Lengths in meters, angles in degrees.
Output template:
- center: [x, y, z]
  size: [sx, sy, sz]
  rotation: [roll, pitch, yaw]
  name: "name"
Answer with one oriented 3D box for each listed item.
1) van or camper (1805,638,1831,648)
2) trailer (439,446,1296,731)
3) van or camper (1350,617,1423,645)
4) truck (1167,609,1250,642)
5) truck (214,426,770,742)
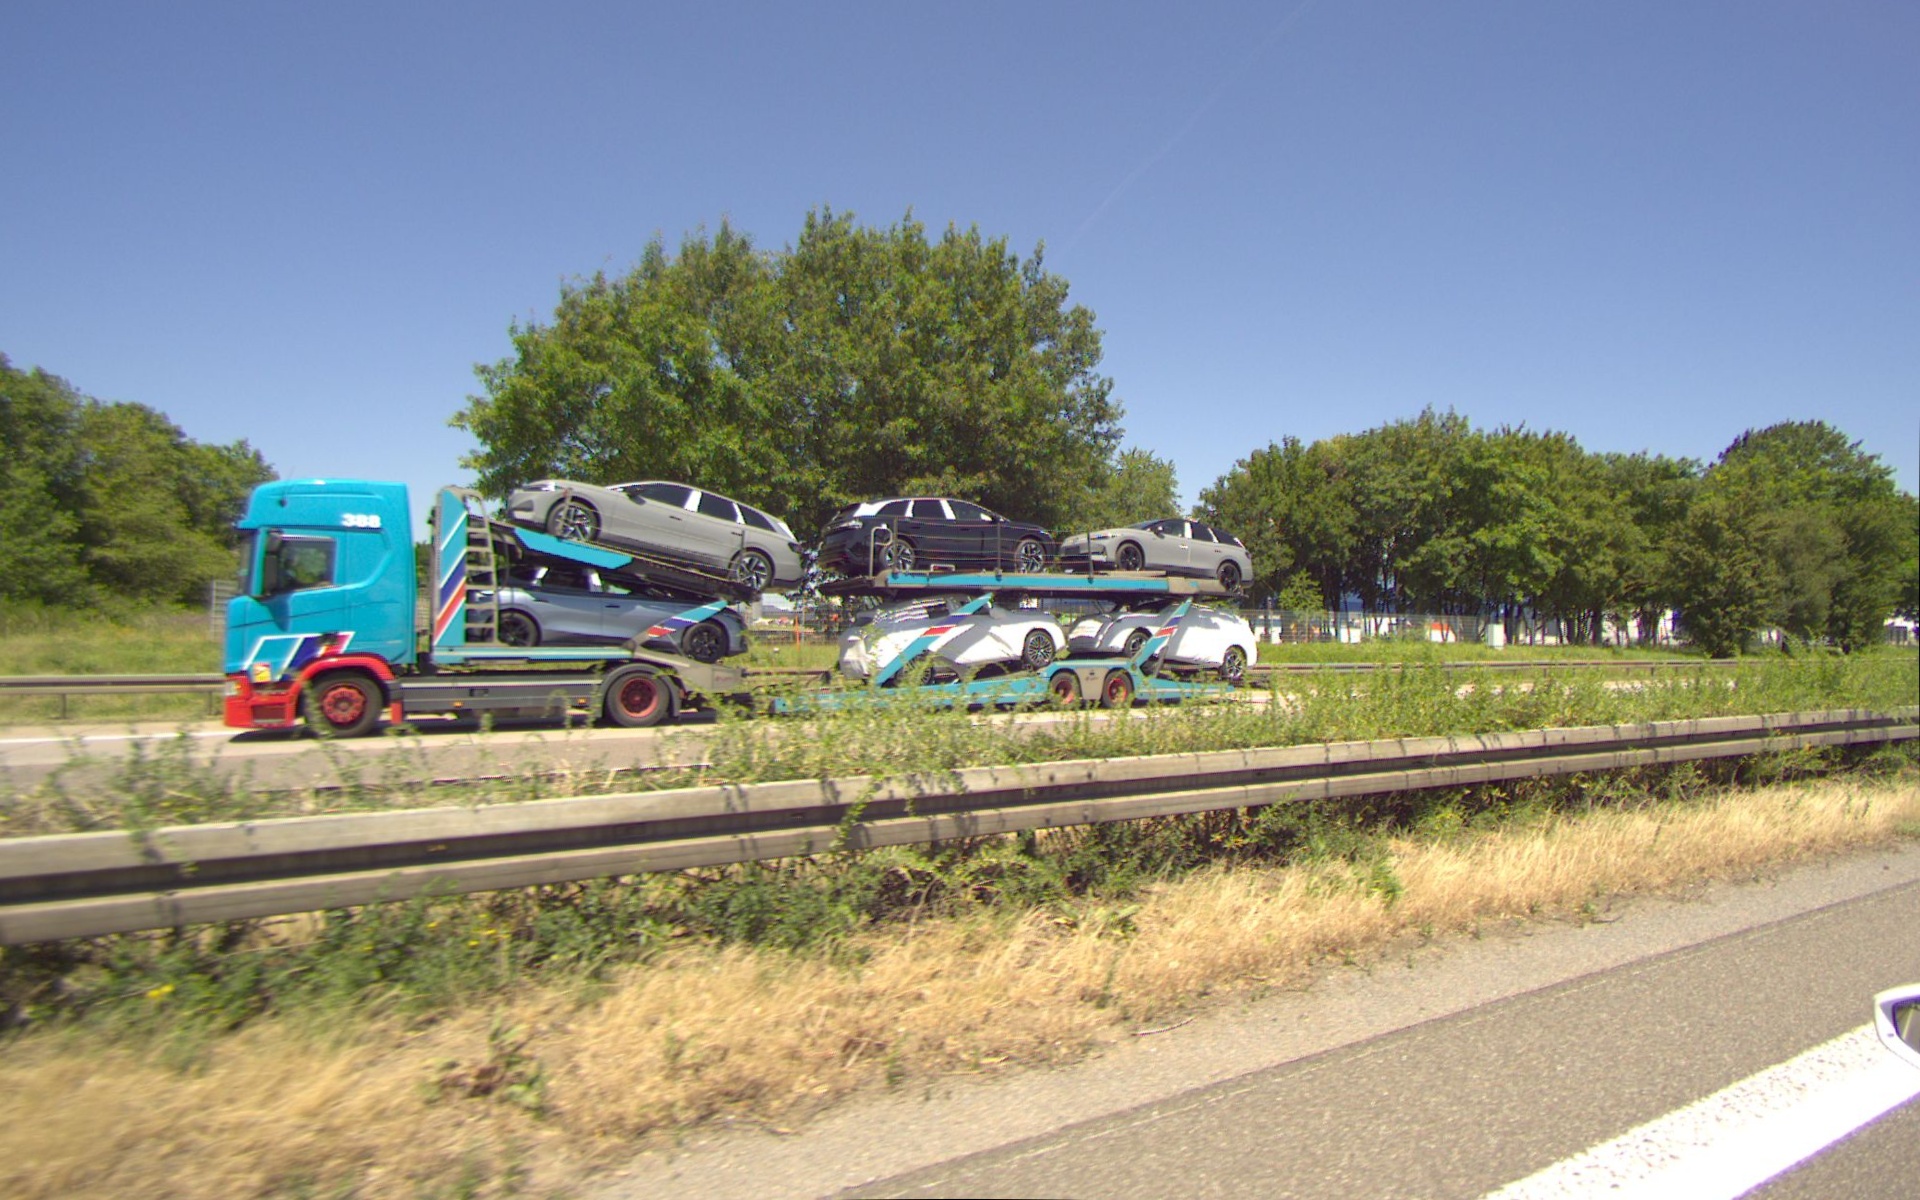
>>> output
- center: [153.564, 7.667, 179.724]
  size: [4.960, 1.674, 1.985]
  rotation: [2, -2, -29]
  name: "van or camper"
- center: [-0.473, 0.119, 19.817]
  size: [17.271, 4.030, 2.865]
  rotation: [2, -4, -31]
  name: "trailer"
- center: [40.282, 2.930, 94.717]
  size: [7.638, 2.586, 2.345]
  rotation: [2, -2, -31]
  name: "van or camper"
- center: [25.626, 2.638, 103.427]
  size: [8.196, 3.233, 3.534]
  rotation: [2, -2, -29]
  name: "truck"
- center: [-6.968, -0.048, 15.847]
  size: [7.286, 4.027, 2.866]
  rotation: [2, -4, -31]
  name: "truck"
